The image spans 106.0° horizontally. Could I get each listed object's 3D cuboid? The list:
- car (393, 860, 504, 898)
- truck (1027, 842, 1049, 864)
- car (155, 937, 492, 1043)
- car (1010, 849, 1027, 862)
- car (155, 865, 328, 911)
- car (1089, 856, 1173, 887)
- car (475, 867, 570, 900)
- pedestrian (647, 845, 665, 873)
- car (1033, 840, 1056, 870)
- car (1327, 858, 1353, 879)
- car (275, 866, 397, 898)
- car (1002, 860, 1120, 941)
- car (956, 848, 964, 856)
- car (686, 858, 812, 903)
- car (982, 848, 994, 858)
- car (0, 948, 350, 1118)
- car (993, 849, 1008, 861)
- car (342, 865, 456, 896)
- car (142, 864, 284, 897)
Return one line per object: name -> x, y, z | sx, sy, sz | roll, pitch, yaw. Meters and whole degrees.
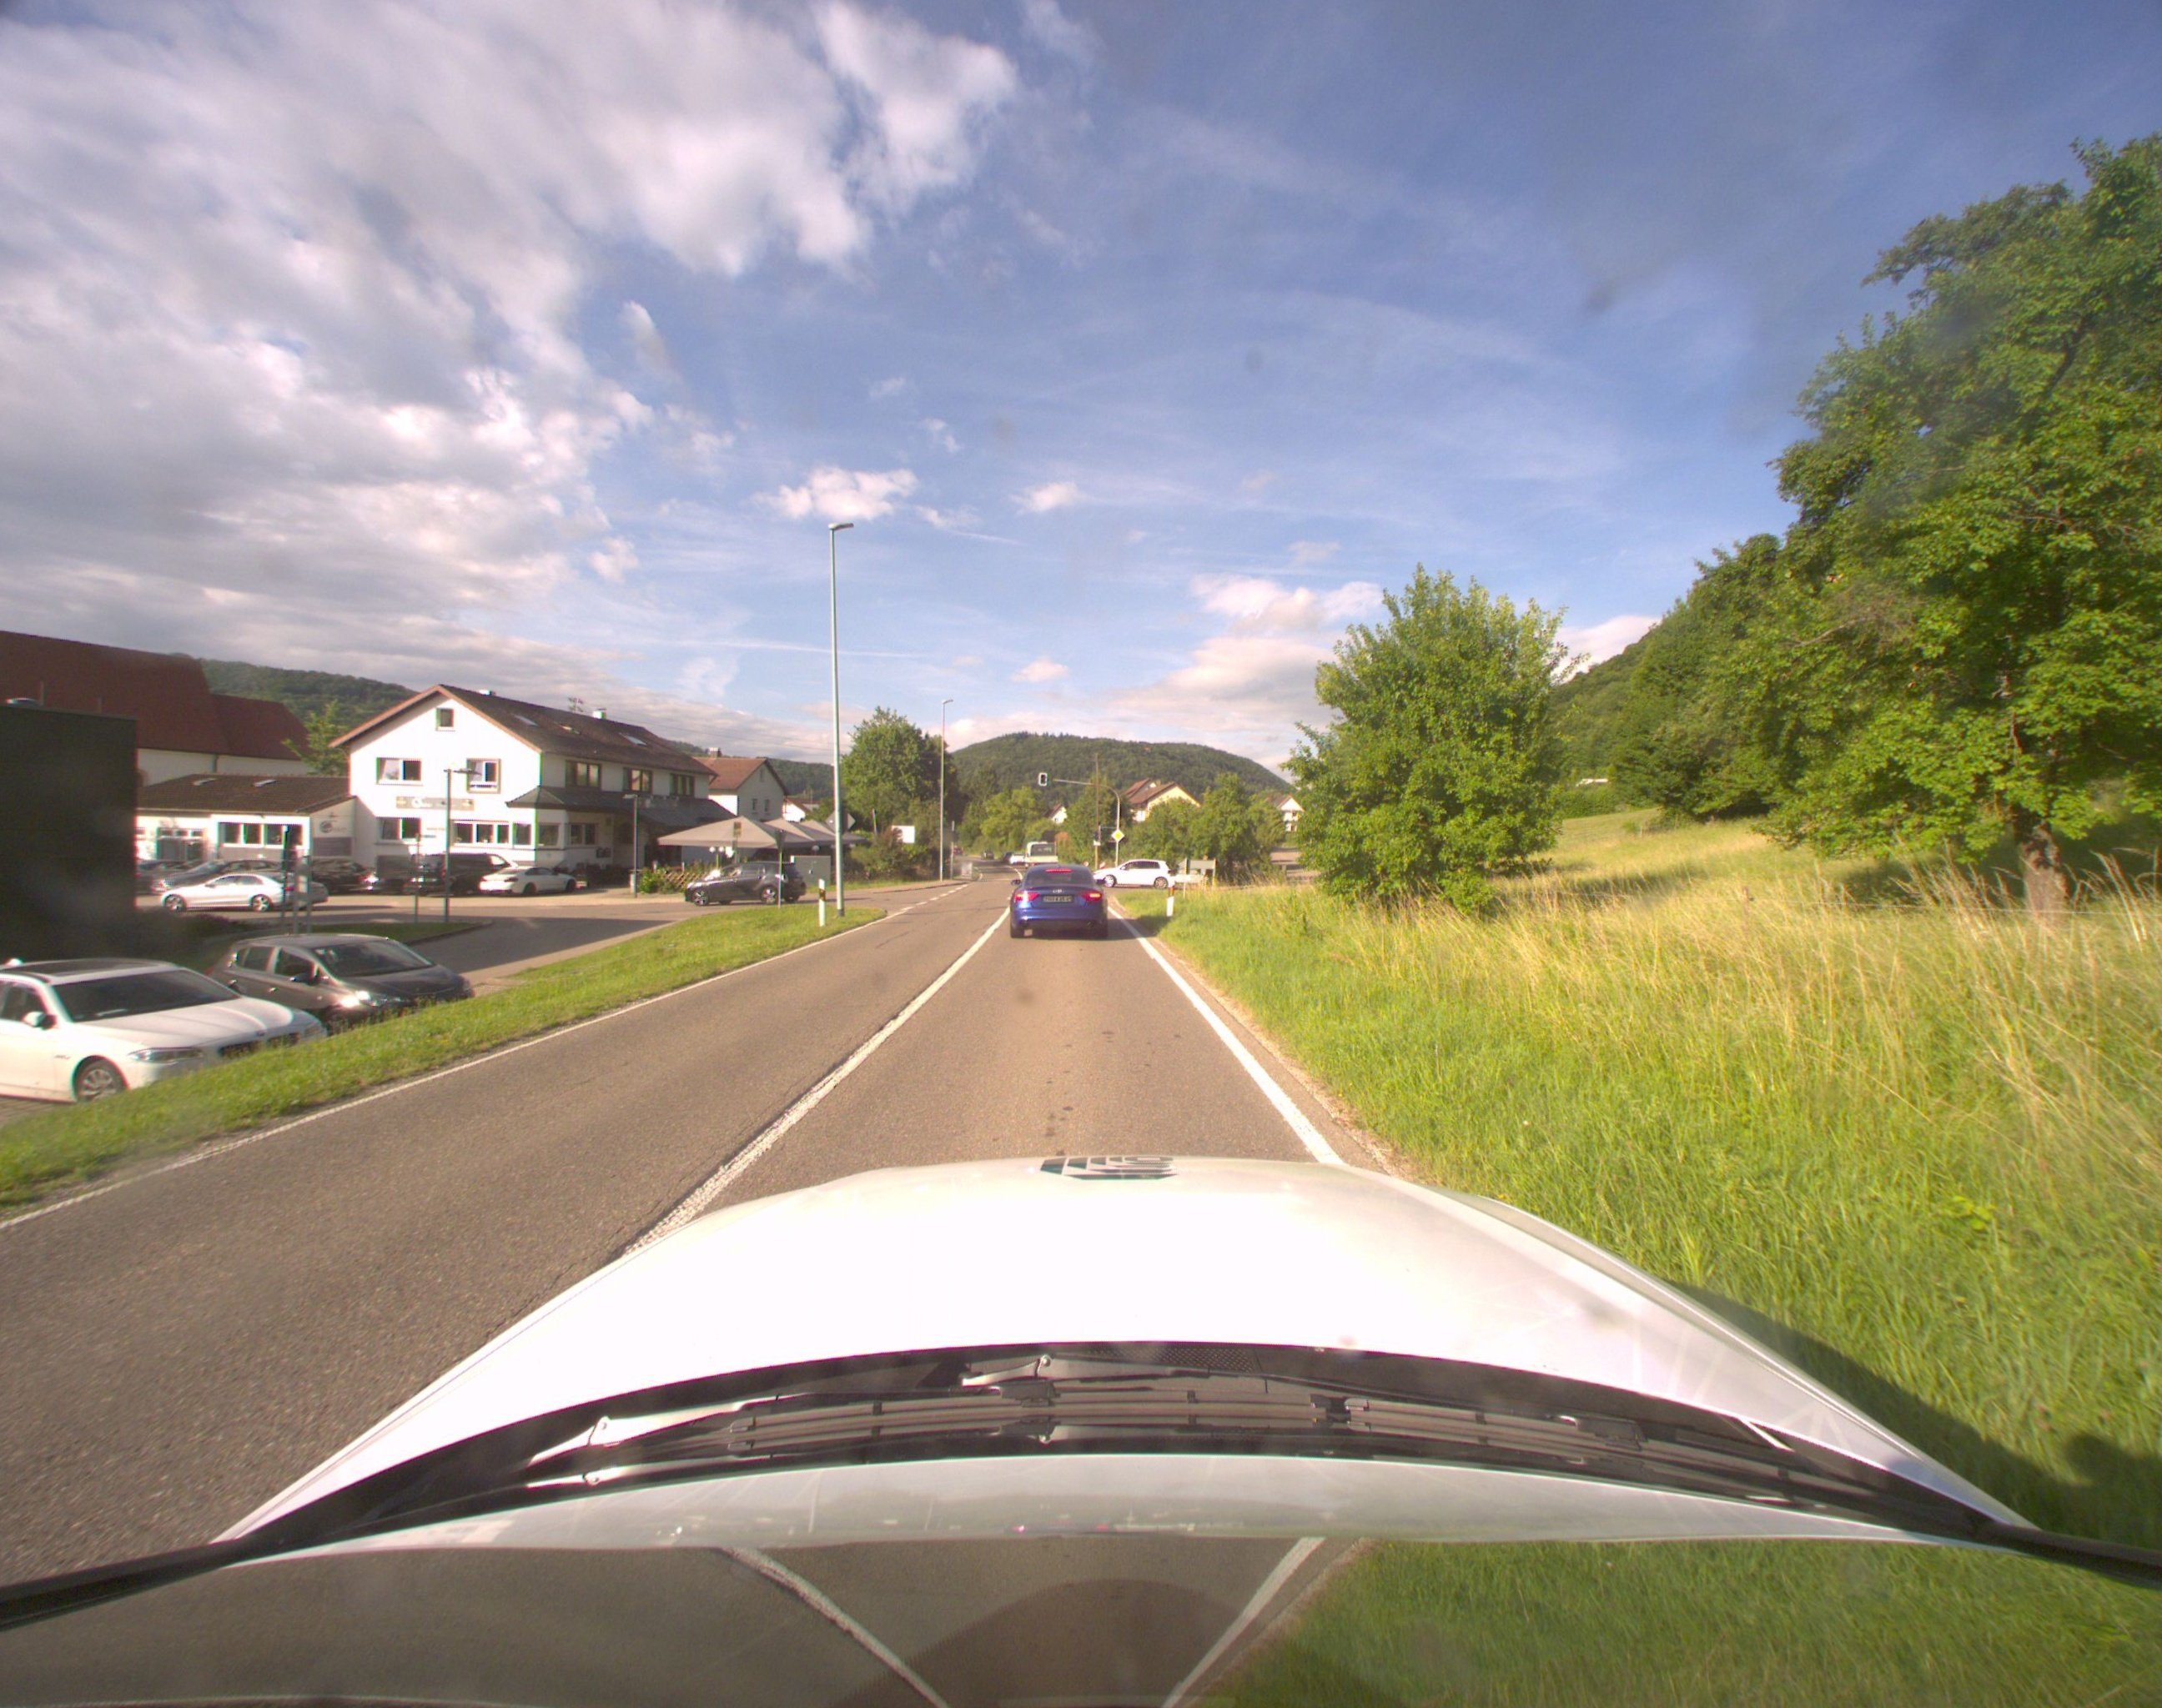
car -> -28.912, 1.113, 37.413 | 1.880, 1.662, 4.001 | 0, -1, 2
truck -> -4.093, -0.081, 76.307 | 1.696, 1.953, 5.907 | 0, -1, -7
car -> -11.724, 2.052, 12.733 | 3.963, 1.310, 1.765 | -1, -1, 9
car -> -7.216, 0.170, 93.839 | 1.696, 1.490, 3.518 | 0, -1, -7
car -> -31.071, 1.237, 30.242 | 4.435, 1.639, 1.810 | 0, -1, -1
car -> 2.534, 0.896, 41.587 | 4.039, 1.508, 1.851 | 0, -1, -7
car -> -25.924, 1.339, 37.998 | 1.550, 1.450, 4.001 | 0, -1, 2
pedestrian -> -23.198, 0.267, 44.464 | 0.606, 1.503, 0.590 | 0, -1, 2
car -> -2.787, 0.110, 62.764 | 1.741, 2.195, 3.996 | 0, -1, -2
car -> 17.981, 1.023, 56.674 | 1.611, 1.390, 4.017 | -1, -1, 16
car -> -33.864, 1.247, 37.178 | 1.834, 1.354, 4.001 | 0, -1, 1
car -> -0.263, 0.849, 16.247 | 1.786, 1.388, 4.007 | -1, -1, 6
car -> -23.897, -0.413, 160.854 | 1.625, 1.576, 3.669 | 0, -1, -8
car -> -12.447, 0.988, 30.666 | 3.968, 1.639, 1.754 | 0, -1, 4
car -> -14.451, -0.120, 126.770 | 1.695, 1.490, 3.520 | 0, -1, -5
car -> -11.781, 2.025, 9.905 | 4.779, 1.493, 1.888 | -1, -1, 13
car -> -10.448, 0.080, 105.211 | 1.698, 1.490, 3.513 | 0, -1, -11
car -> -31.515, 1.201, 37.798 | 1.834, 1.354, 4.001 | 0, -1, 1
car -> -37.948, 1.112, 35.767 | 1.833, 1.354, 4.003 | 0, -1, 3
